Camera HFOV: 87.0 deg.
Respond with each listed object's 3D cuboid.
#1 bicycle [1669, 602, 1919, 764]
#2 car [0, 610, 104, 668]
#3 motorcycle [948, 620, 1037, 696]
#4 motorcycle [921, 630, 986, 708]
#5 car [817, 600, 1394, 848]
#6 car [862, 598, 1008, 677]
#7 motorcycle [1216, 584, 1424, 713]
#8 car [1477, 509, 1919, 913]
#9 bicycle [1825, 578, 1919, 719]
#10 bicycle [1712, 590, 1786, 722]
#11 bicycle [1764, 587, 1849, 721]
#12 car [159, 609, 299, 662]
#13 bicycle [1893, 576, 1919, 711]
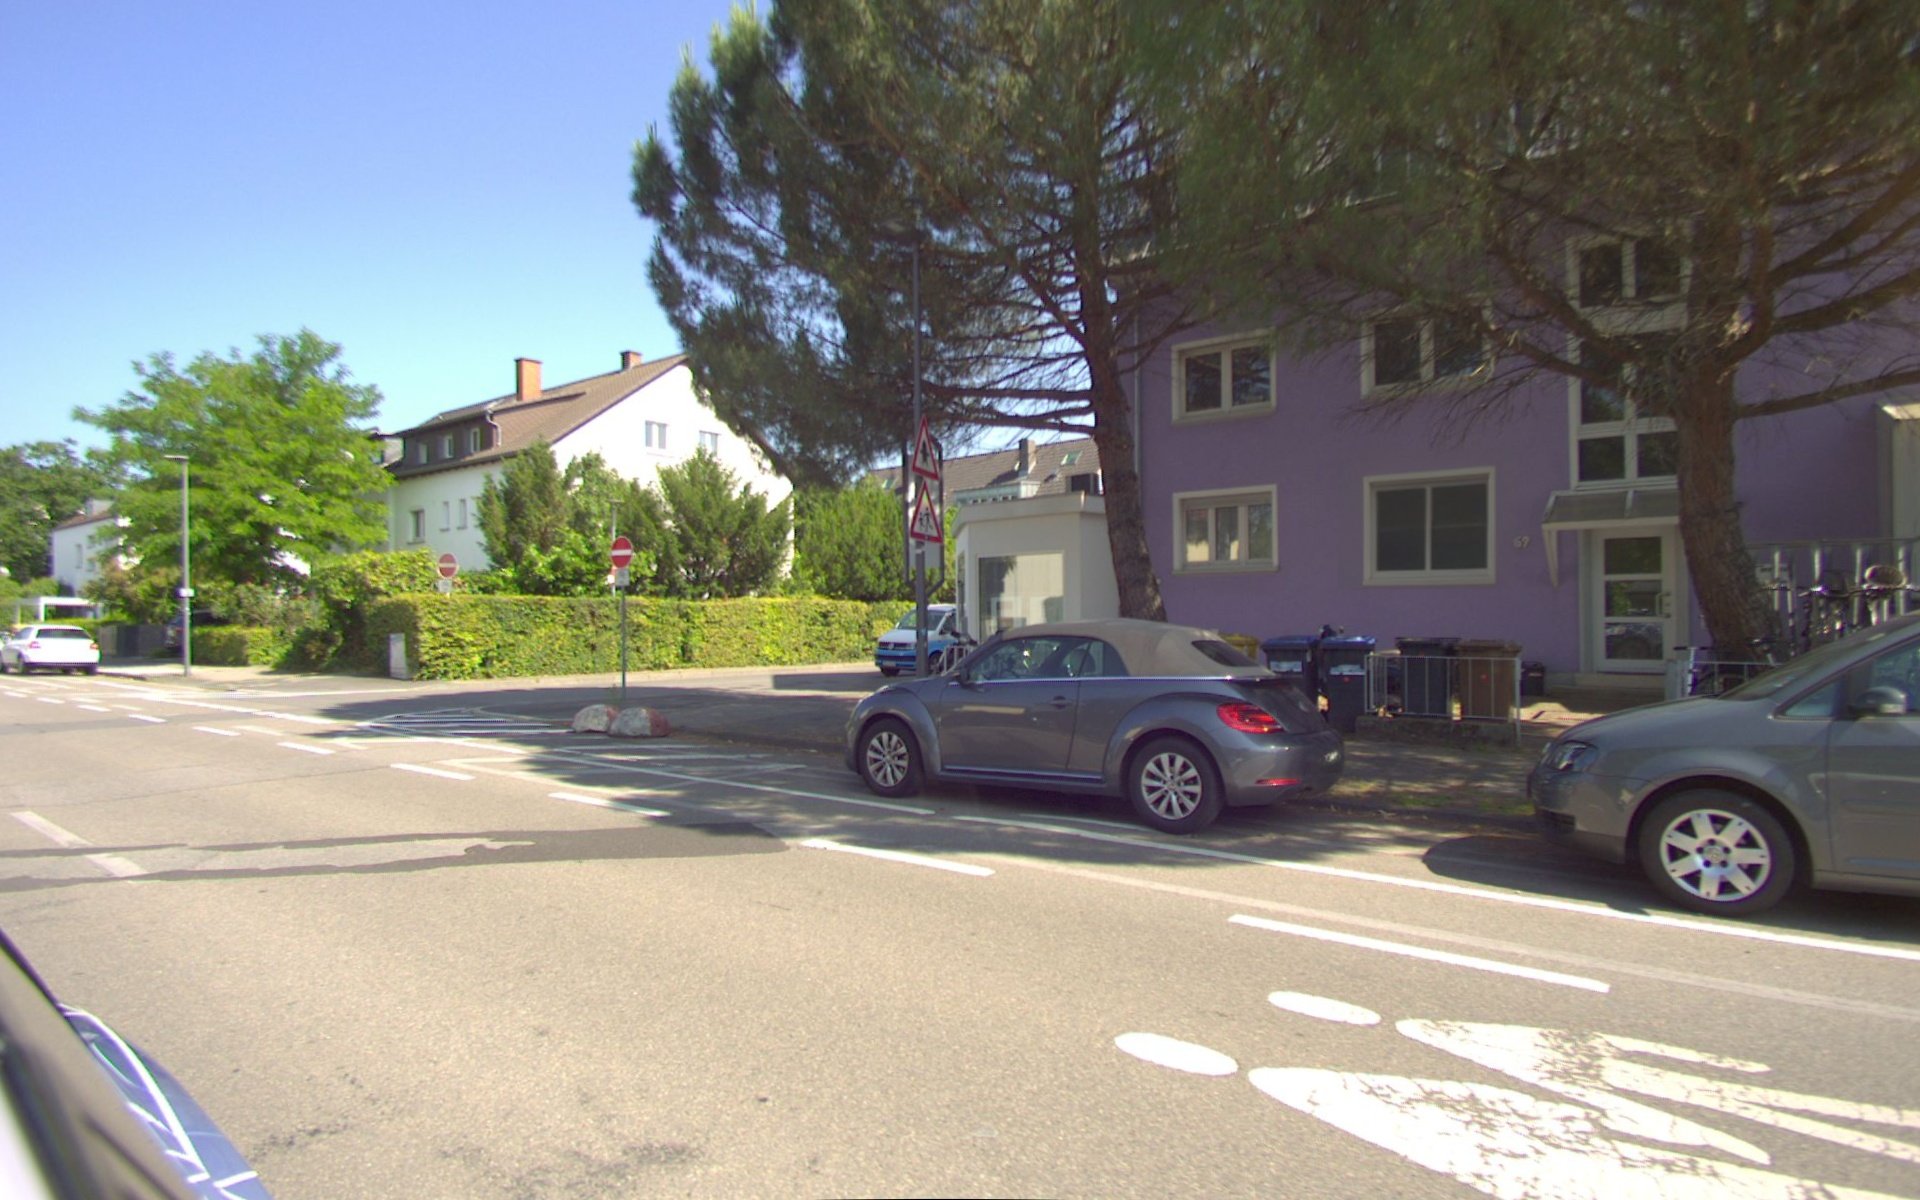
[{"bbox_3d":[7.216,0.667,8.598,1.912,1.276,0.453,-1,-1,40],"label":"bicycle"},{"bbox_3d":[-26.479,1.083,29.229,3.994,1.564,1.935,-1,-1,38],"label":"car"},{"bbox_3d":[0.560,1.003,17.805,1.496,1.283,0.510,-1,-2,30],"label":"motorcycle"},{"bbox_3d":[-0.087,1.005,15.105,0.425,1.077,1.207,-1,0,29],"label":"motorcycle"},{"bbox_3d":[0.996,0.809,8.024,4.187,1.468,1.824,-2,-3,37],"label":"car"},{"bbox_3d":[-0.640,1.028,28.237,1.998,2.029,3.947,-2,-2,39],"label":"car"},{"bbox_3d":[4.526,0.603,12.858,2.428,1.519,0.519,-2,-2,34],"label":"motorcycle"},{"bbox_3d":[5.197,0.491,4.855,4.578,1.778,1.824,-2,-2,37],"label":"car"},{"bbox_3d":[9.896,0.503,10.982,0.502,1.394,2.153,-2,-2,34],"label":"bicycle"},{"bbox_3d":[9.064,0.615,11.673,0.501,1.394,2.153,-2,-2,34],"label":"bicycle"},{"bbox_3d":[9.678,0.592,11.629,0.502,1.394,2.153,-2,-2,34],"label":"bicycle"},{"bbox_3d":[-26.519,1.262,36.774,3.939,1.830,2.002,1,-2,-42],"label":"car"},{"bbox_3d":[10.147,0.450,10.374,0.502,1.394,2.153,-2,-2,34],"label":"bicycle"}]
